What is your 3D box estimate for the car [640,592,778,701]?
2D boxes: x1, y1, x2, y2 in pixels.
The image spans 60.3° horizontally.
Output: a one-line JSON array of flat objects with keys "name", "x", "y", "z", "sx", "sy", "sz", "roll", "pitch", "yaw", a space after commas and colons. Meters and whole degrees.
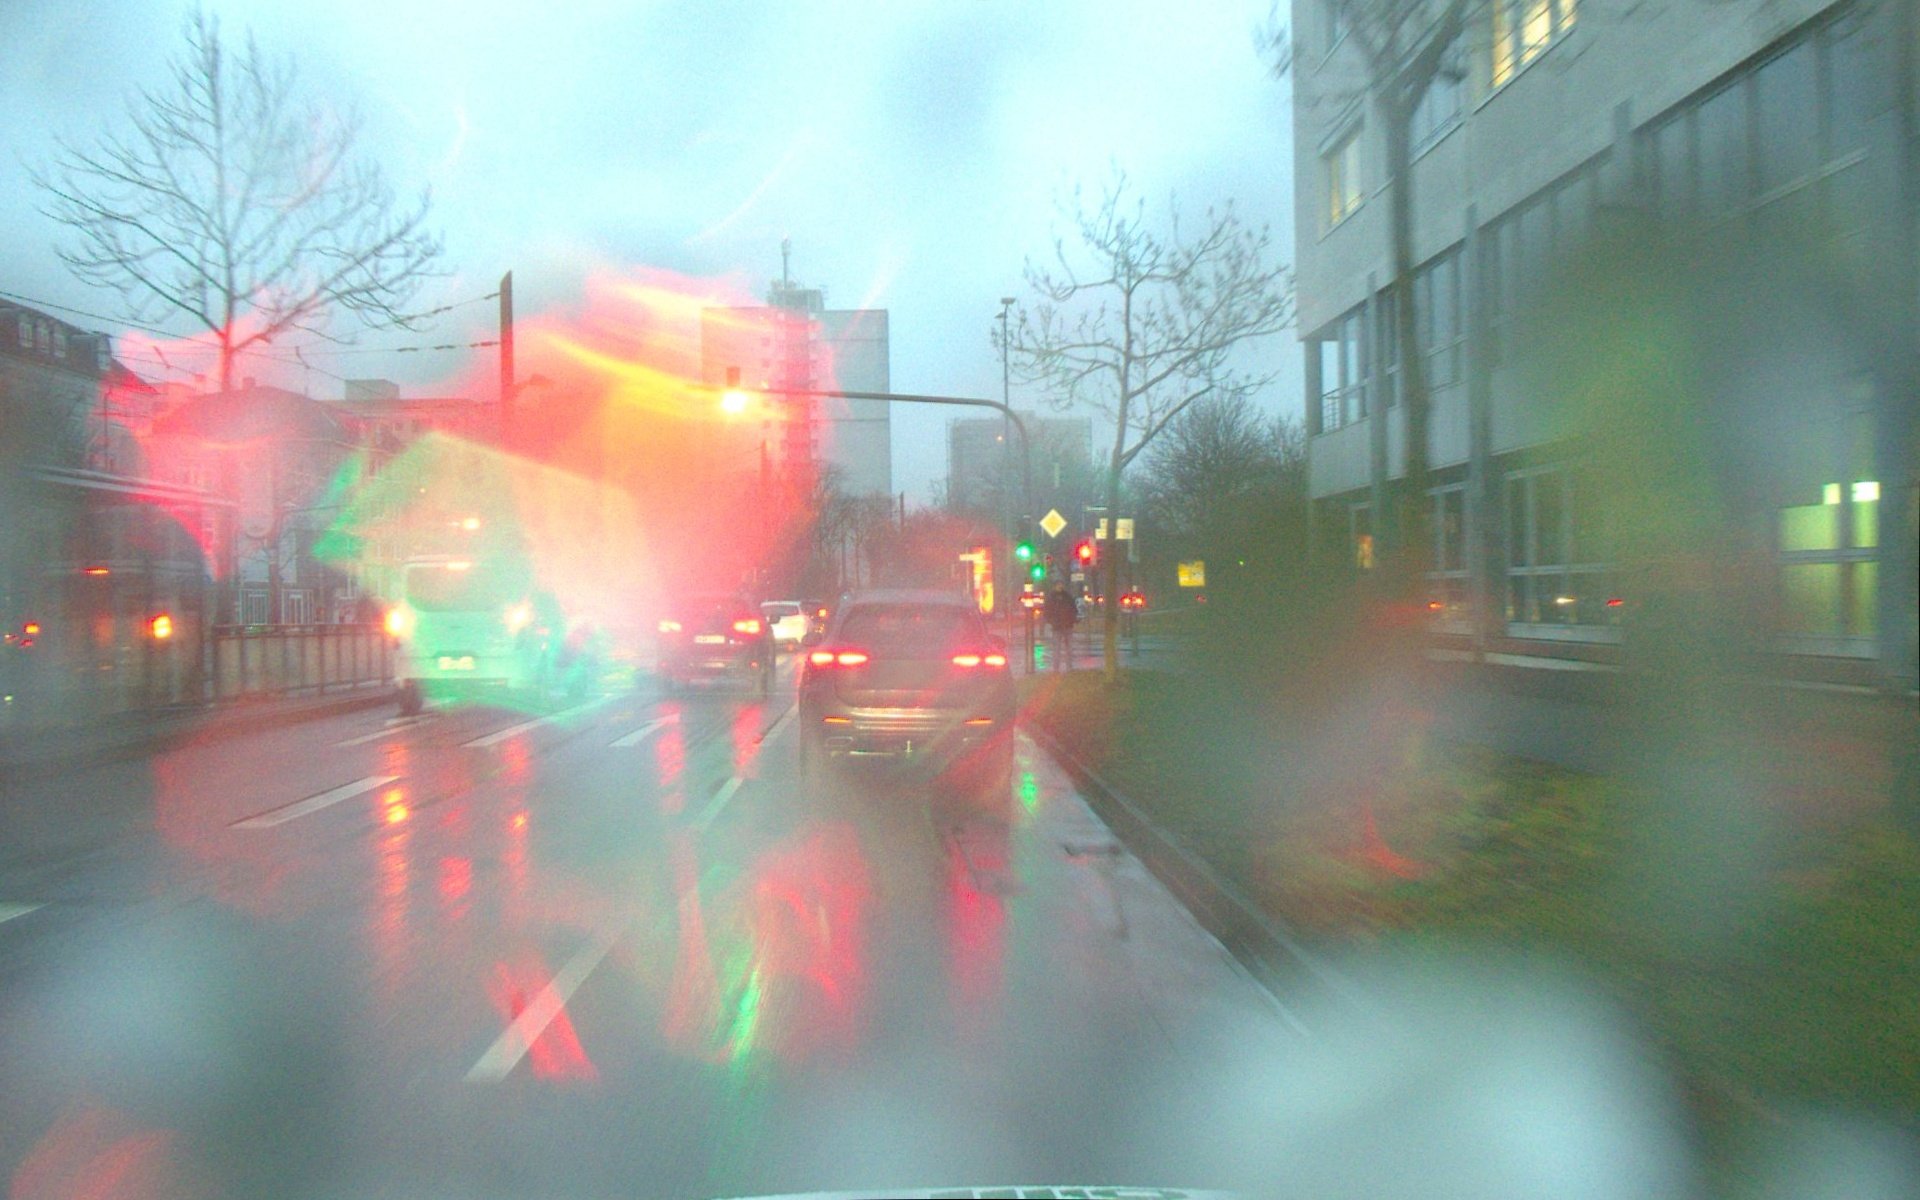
[{"name": "car", "x": -4.252, "y": 0.782, "z": 28.599, "sx": 1.954, "sy": 1.742, "sz": 4.321, "roll": 0, "pitch": -1, "yaw": -4}]

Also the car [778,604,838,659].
[{"name": "car", "x": -5.927, "y": 1.237, "z": 64.957, "sx": 1.953, "sy": 2.049, "sz": 3.999, "roll": 0, "pitch": -1, "yaw": 0}]

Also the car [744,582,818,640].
[{"name": "car", "x": -5.369, "y": 0.360, "z": 50.037, "sx": 1.953, "sy": 1.671, "sz": 4.020, "roll": 0, "pitch": -1, "yaw": -2}]

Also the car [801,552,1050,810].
[{"name": "car", "x": -0.447, "y": 0.673, "z": 15.030, "sx": 1.955, "sy": 2.010, "sz": 4.063, "roll": 0, "pitch": -1, "yaw": -5}]

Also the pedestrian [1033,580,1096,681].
[{"name": "pedestrian", "x": 1.954, "y": 0.558, "z": 30.945, "sx": 0.780, "sy": 1.780, "sz": 0.861, "roll": -5, "pitch": 0, "yaw": 24}]

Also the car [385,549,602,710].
[{"name": "car", "x": -6.571, "y": 0.385, "z": 23.884, "sx": 1.913, "sy": 2.069, "sz": 4.880, "roll": 0, "pitch": 0, "yaw": -2}]
